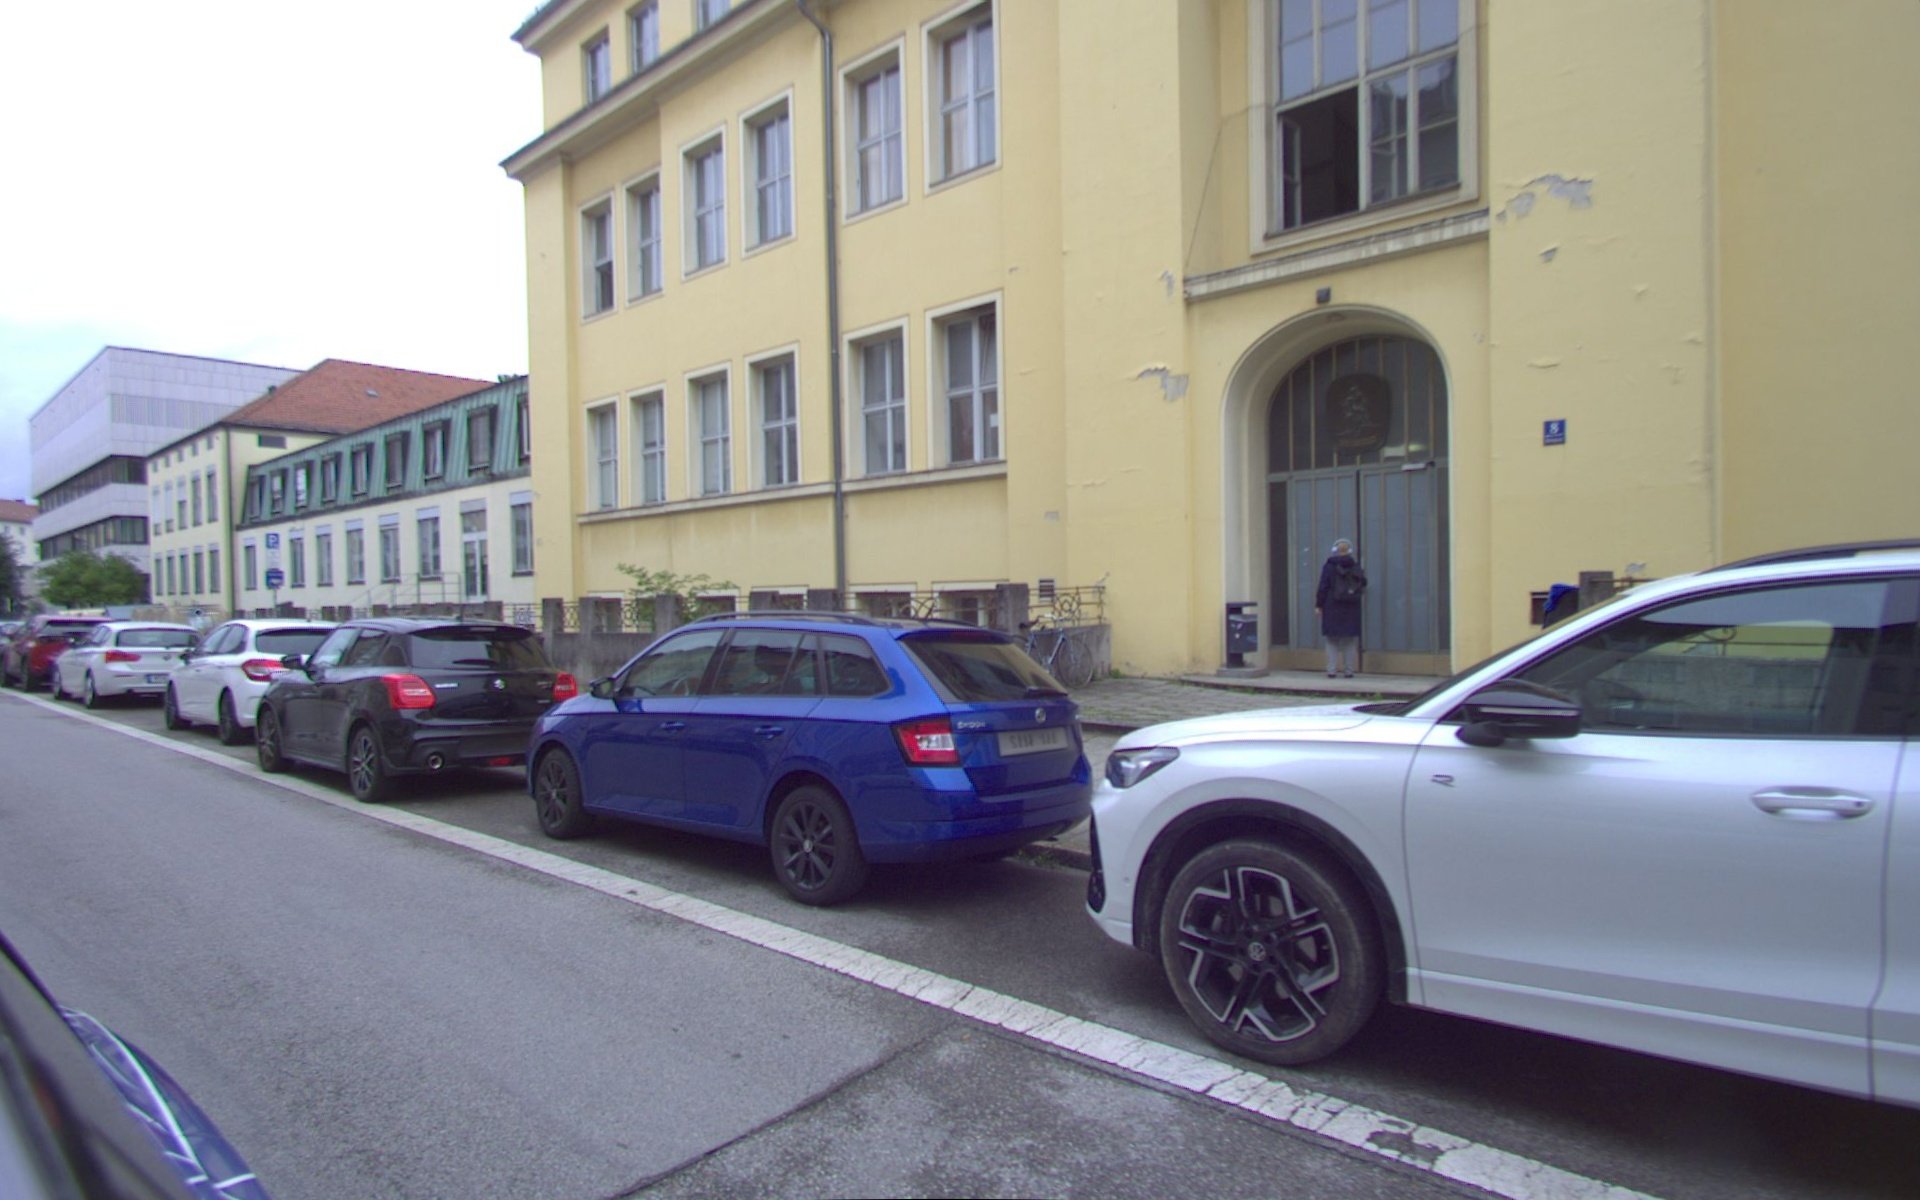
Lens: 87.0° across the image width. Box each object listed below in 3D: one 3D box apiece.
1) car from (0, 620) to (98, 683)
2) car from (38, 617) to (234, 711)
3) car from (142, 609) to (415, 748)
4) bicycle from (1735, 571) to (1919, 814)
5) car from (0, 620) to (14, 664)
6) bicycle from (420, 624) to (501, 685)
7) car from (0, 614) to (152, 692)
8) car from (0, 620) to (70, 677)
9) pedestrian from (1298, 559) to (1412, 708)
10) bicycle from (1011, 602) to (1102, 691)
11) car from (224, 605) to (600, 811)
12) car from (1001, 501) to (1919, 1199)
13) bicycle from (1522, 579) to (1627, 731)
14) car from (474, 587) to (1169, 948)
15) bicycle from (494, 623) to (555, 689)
[{"bbox_3d":[-22.690,1.200,24.605,4.348,1.415,1.733,-1,-2,37],"label":"car"},{"bbox_3d":[-14.733,1.055,18.000,4.660,1.440,1.776,-1,-2,39],"label":"car"},{"bbox_3d":[-8.945,0.869,13.116,4.649,1.442,1.766,-1,1,41],"label":"car"},{"bbox_3d":[5.708,0.505,5.677,2.112,1.338,0.674,-1,1,41],"label":"bicycle"},{"bbox_3d":[-34.486,1.453,35.162,4.529,1.493,1.893,-1,-2,41],"label":"car"},{"bbox_3d":[-9.291,0.988,18.801,1.635,1.070,0.570,-1,1,33],"label":"bicycle"},{"bbox_3d":[-19.125,1.050,21.614,4.523,1.493,1.939,0,-2,38],"label":"car"},{"bbox_3d":[-26.437,1.284,27.973,4.610,1.429,1.994,0,-1,39],"label":"car"},{"bbox_3d":[4.868,0.384,12.470,1.042,1.732,0.905,-2,1,-42],"label":"pedestrian"},{"bbox_3d":[1.265,0.563,13.002,0.425,1.058,1.643,-1,0,34],"label":"bicycle"},{"bbox_3d":[-5.225,0.839,9.417,4.146,1.508,1.681,-1,-3,41],"label":"car"},{"bbox_3d":[2.586,0.603,3.064,4.850,1.646,1.729,-1,-1,38],"label":"car"},{"bbox_3d":[5.669,0.453,9.296,0.527,1.278,1.609,-1,0,42],"label":"bicycle"},{"bbox_3d":[-1.121,0.773,6.364,4.491,1.514,1.686,0,-4,39],"label":"car"},{"bbox_3d":[-7.696,0.965,17.858,0.530,1.070,1.643,-2,1,-39],"label":"bicycle"}]
